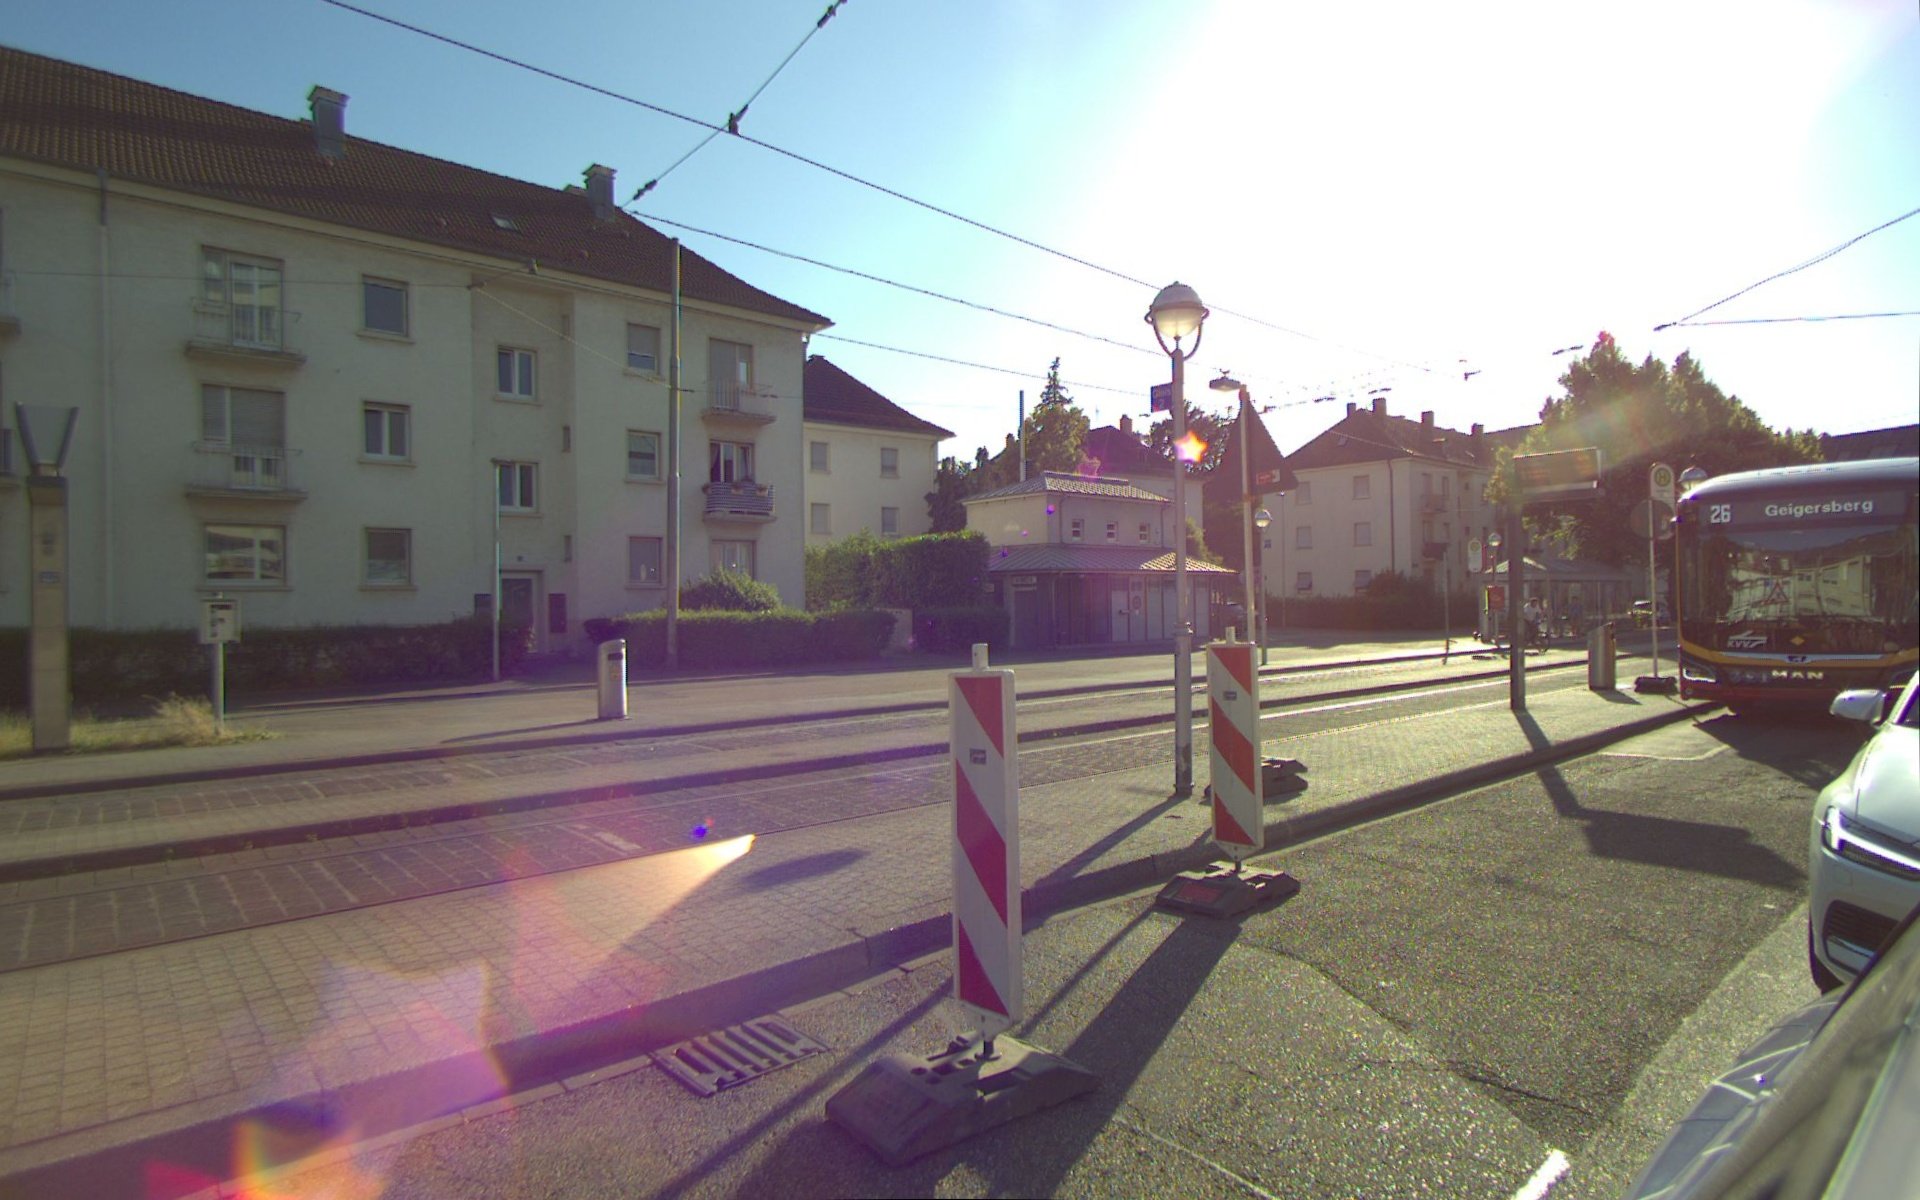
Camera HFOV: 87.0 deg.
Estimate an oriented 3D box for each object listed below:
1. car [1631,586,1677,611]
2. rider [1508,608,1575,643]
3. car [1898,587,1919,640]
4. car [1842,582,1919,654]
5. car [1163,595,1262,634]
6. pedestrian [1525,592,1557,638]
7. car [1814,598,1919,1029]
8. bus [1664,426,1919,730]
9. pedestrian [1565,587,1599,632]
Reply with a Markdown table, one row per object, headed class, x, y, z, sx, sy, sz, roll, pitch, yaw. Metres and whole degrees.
| class | x | y | z | sx | sy | sz | roll | pitch | yaw |
| --- | --- | --- | --- | --- | --- | --- | --- | --- | --- |
| car | 53.777 | -0.122 | 78.428 | 3.930 | 1.887 | 1.997 | -1 | 0 | -41 |
| rider | 17.981 | 0.772 | 31.337 | 0.568 | 1.004 | 1.861 | 0 | 0 | -21 |
| car | 28.779 | 0.365 | 29.224 | 4.740 | 1.477 | 1.968 | 0 | 0 | -41 |
| car | 21.219 | 0.357 | 22.359 | 4.740 | 1.477 | 1.968 | 0 | 0 | -41 |
| car | 11.581 | 0.677 | 46.663 | 1.964 | 1.694 | 4.050 | -1 | -1 | -39 |
| pedestrian | 17.977 | 0.442 | 31.327 | 0.568 | 1.398 | 0.660 | 0 | 0 | -22 |
| car | 5.266 | 0.733 | 4.354 | 4.143 | 1.472 | 1.819 | 0 | 0 | -41 |
| bus | 14.311 | -0.265 | 15.841 | 11.824 | 3.345 | 2.745 | 0 | 0 | -42 |
| pedestrian | 23.237 | 0.352 | 37.797 | 0.827 | 1.631 | 0.825 | 0 | 0 | -36 |
